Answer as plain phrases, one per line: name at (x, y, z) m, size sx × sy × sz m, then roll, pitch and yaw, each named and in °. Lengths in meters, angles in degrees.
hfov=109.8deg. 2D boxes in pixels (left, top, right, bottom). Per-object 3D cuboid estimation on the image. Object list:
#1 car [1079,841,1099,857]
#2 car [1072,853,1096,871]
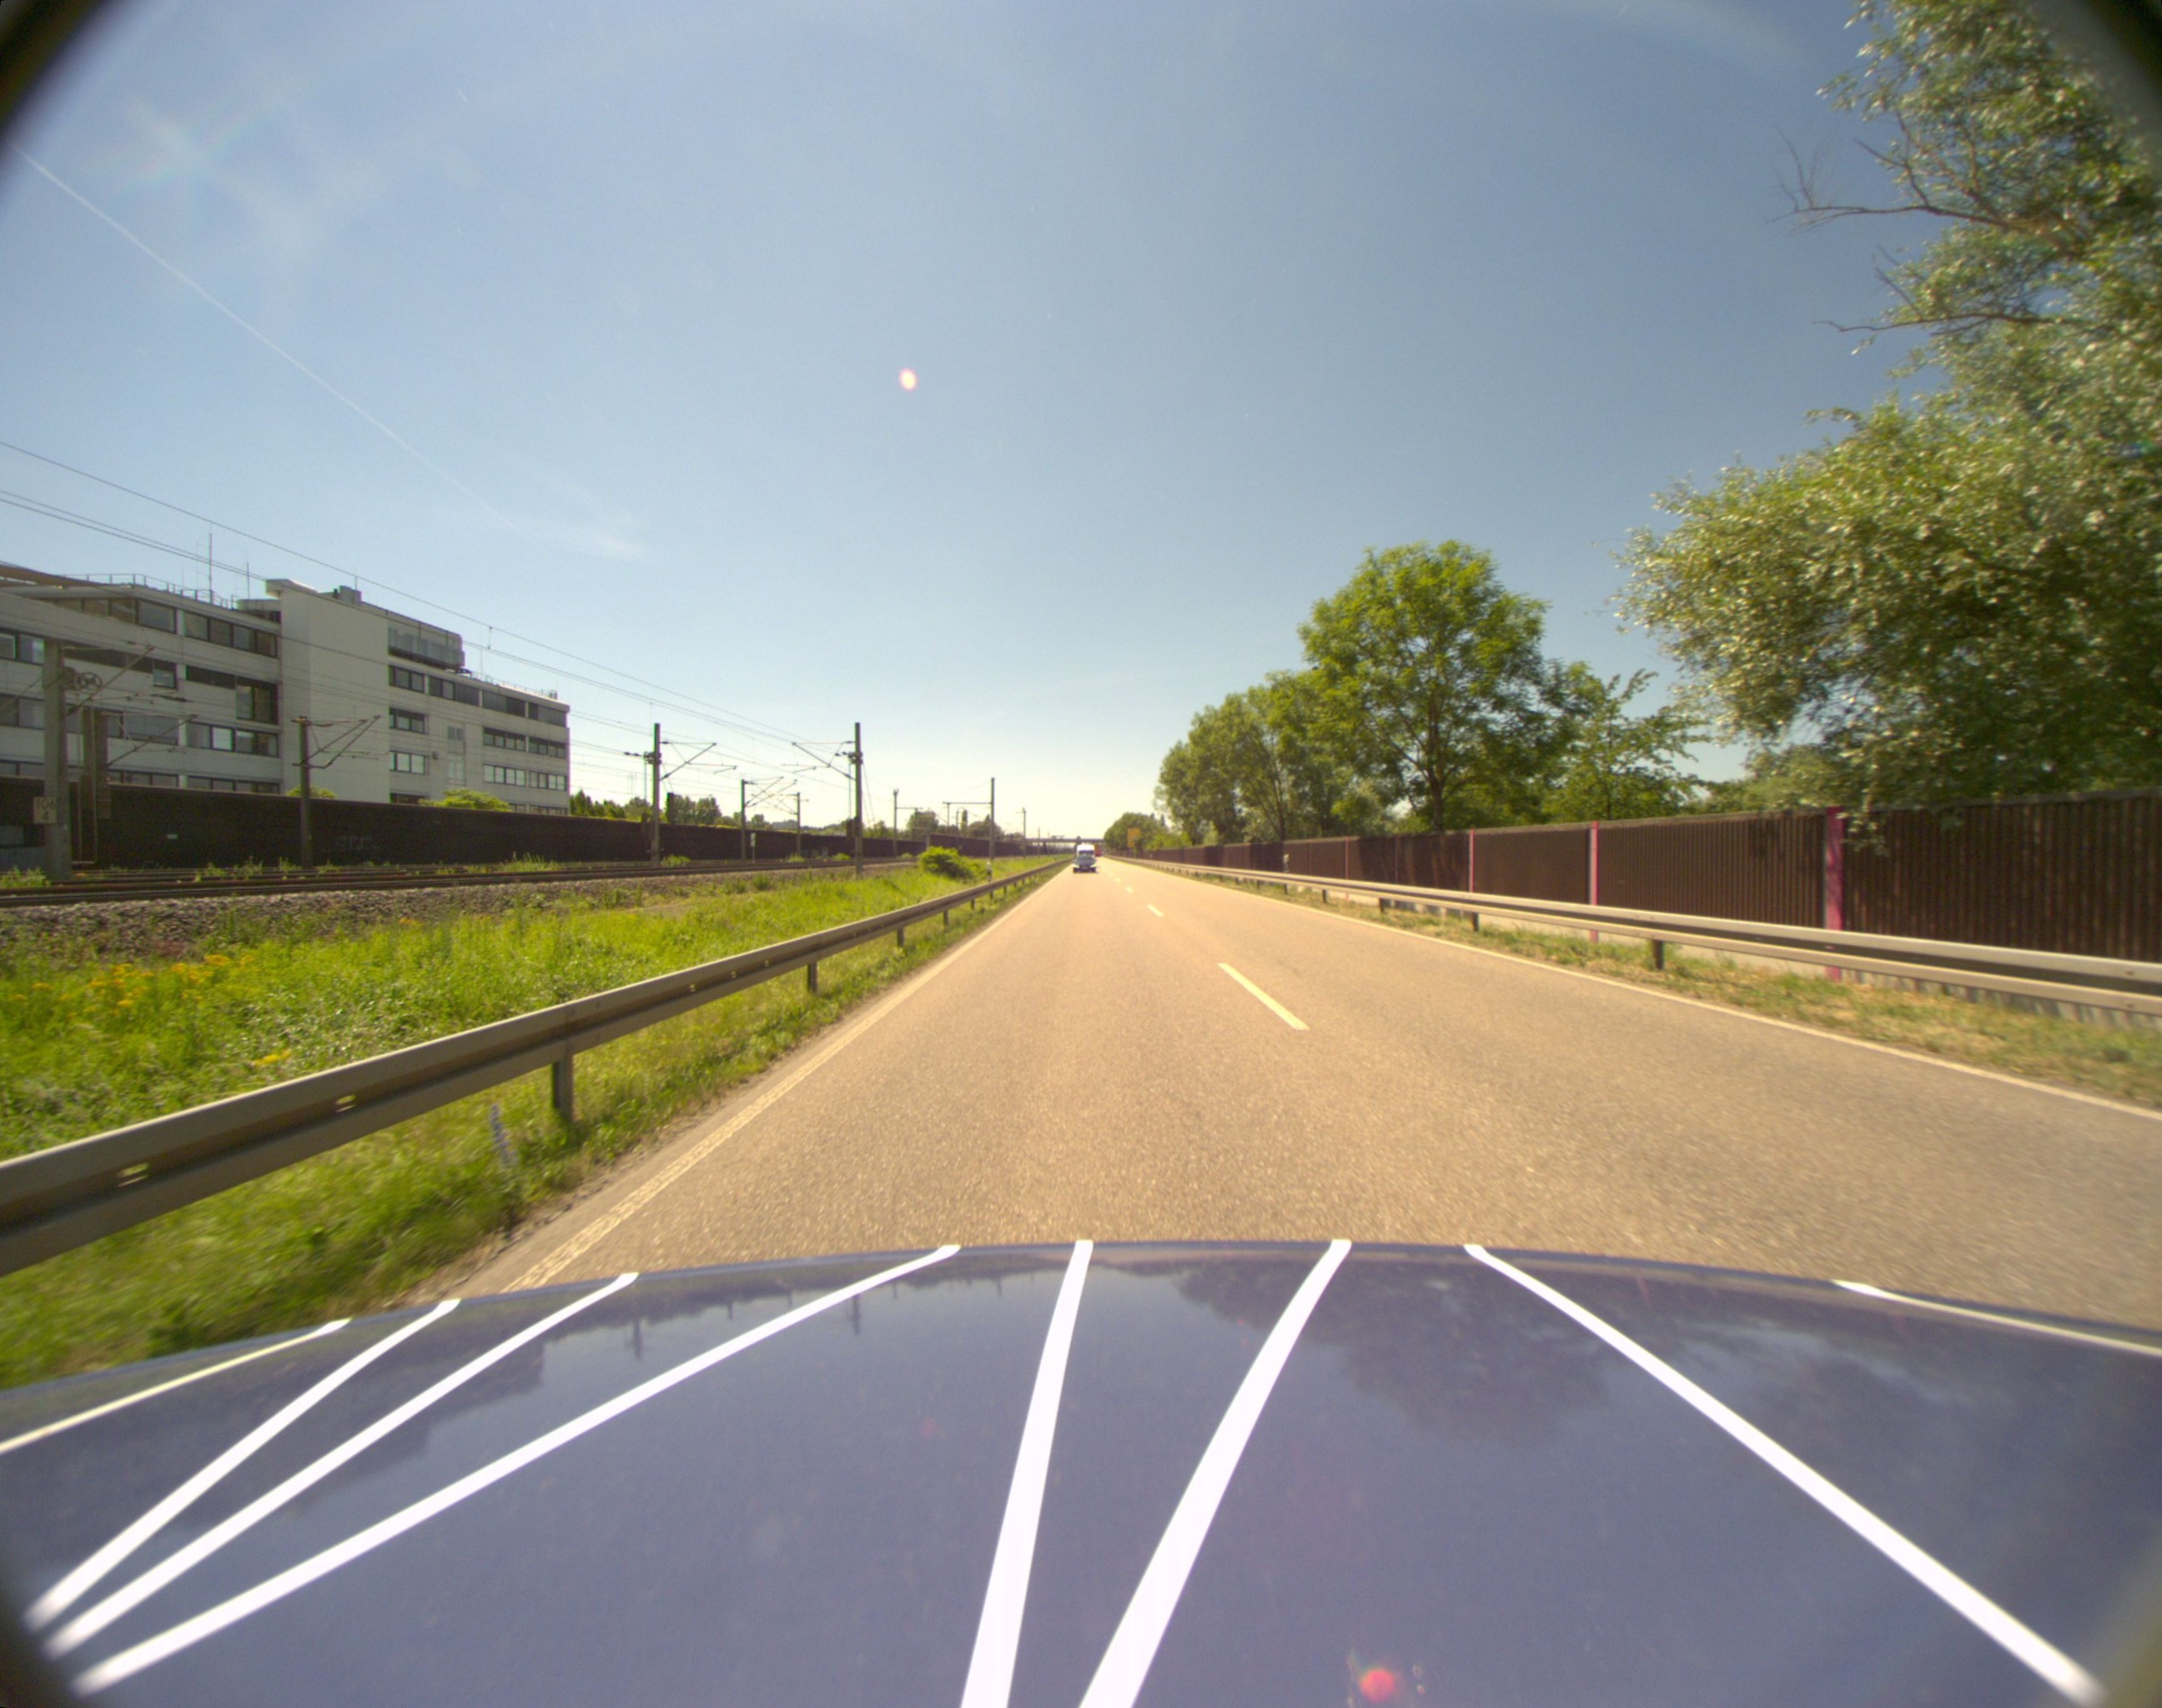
car at (0.906, -0.538, 85.802) m, size 2.161 × 1.701 × 4.492 m, roll -2°, pitch 0°, yaw 1°
car at (0.257, 0.590, 61.552) m, size 1.758 × 1.313 × 4.000 m, roll -2°, pitch 0°, yaw 1°
